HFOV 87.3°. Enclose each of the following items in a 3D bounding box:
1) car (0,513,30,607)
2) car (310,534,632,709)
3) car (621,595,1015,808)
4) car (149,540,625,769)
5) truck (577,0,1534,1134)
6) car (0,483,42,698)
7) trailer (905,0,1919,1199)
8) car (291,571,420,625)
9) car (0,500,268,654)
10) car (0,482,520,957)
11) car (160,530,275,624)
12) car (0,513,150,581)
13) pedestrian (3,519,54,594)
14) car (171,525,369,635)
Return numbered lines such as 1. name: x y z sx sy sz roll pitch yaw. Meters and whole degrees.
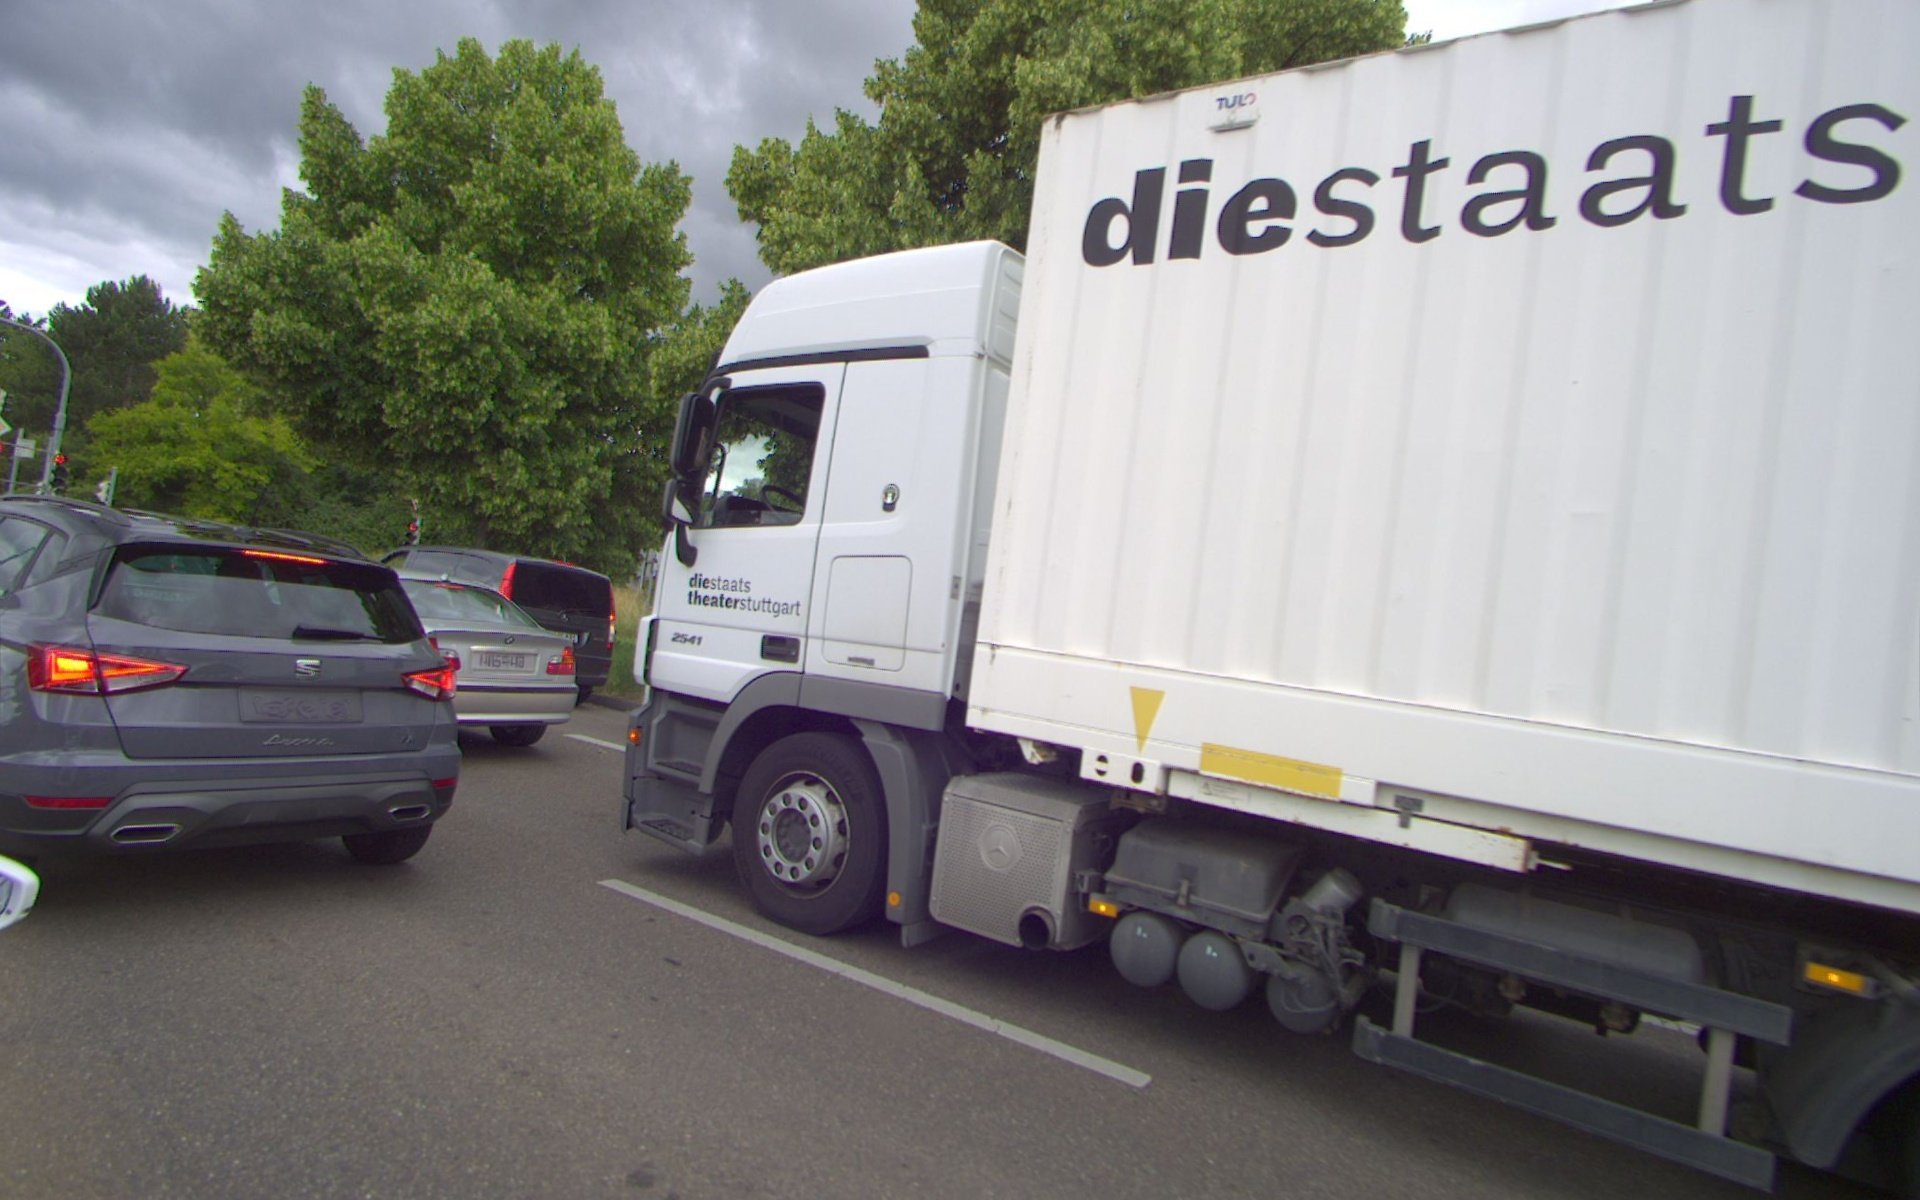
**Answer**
1. car: -16.729 -0.837 16.124 3.933 1.420 1.549 6 -2 31
2. car: -6.844 0.254 13.939 4.433 1.825 1.828 7 -1 33
3. car: -1.497 0.995 10.351 3.622 1.511 1.647 7 -5 31
4. car: -5.104 0.403 8.849 4.050 1.370 1.815 6 -2 32
5. truck: 0.513 -0.204 5.472 4.039 3.749 2.575 7 -1 33
6. car: -9.020 -0.327 7.795 4.120 1.541 1.801 7 -1 34
7. trailer: 3.860 0.226 3.264 7.637 3.749 2.569 7 -1 33
8. car: -27.300 -0.065 45.557 1.972 1.475 4.498 4 -8 41
9. car: -10.619 -0.338 12.452 4.144 1.452 1.828 6 -2 33
10. car: -4.183 0.291 4.958 3.935 1.503 1.701 6 -2 33
11. car: -16.500 -0.546 22.321 1.696 1.655 4.200 10 -4 -38
12. car: -32.690 -1.981 35.962 1.970 1.836 5.420 7 -2 37
13. pedestrian: -19.415 -0.893 20.973 0.349 1.470 0.610 6 -2 40
14. car: -11.862 -0.363 17.233 3.584 1.454 1.515 6 -1 35
